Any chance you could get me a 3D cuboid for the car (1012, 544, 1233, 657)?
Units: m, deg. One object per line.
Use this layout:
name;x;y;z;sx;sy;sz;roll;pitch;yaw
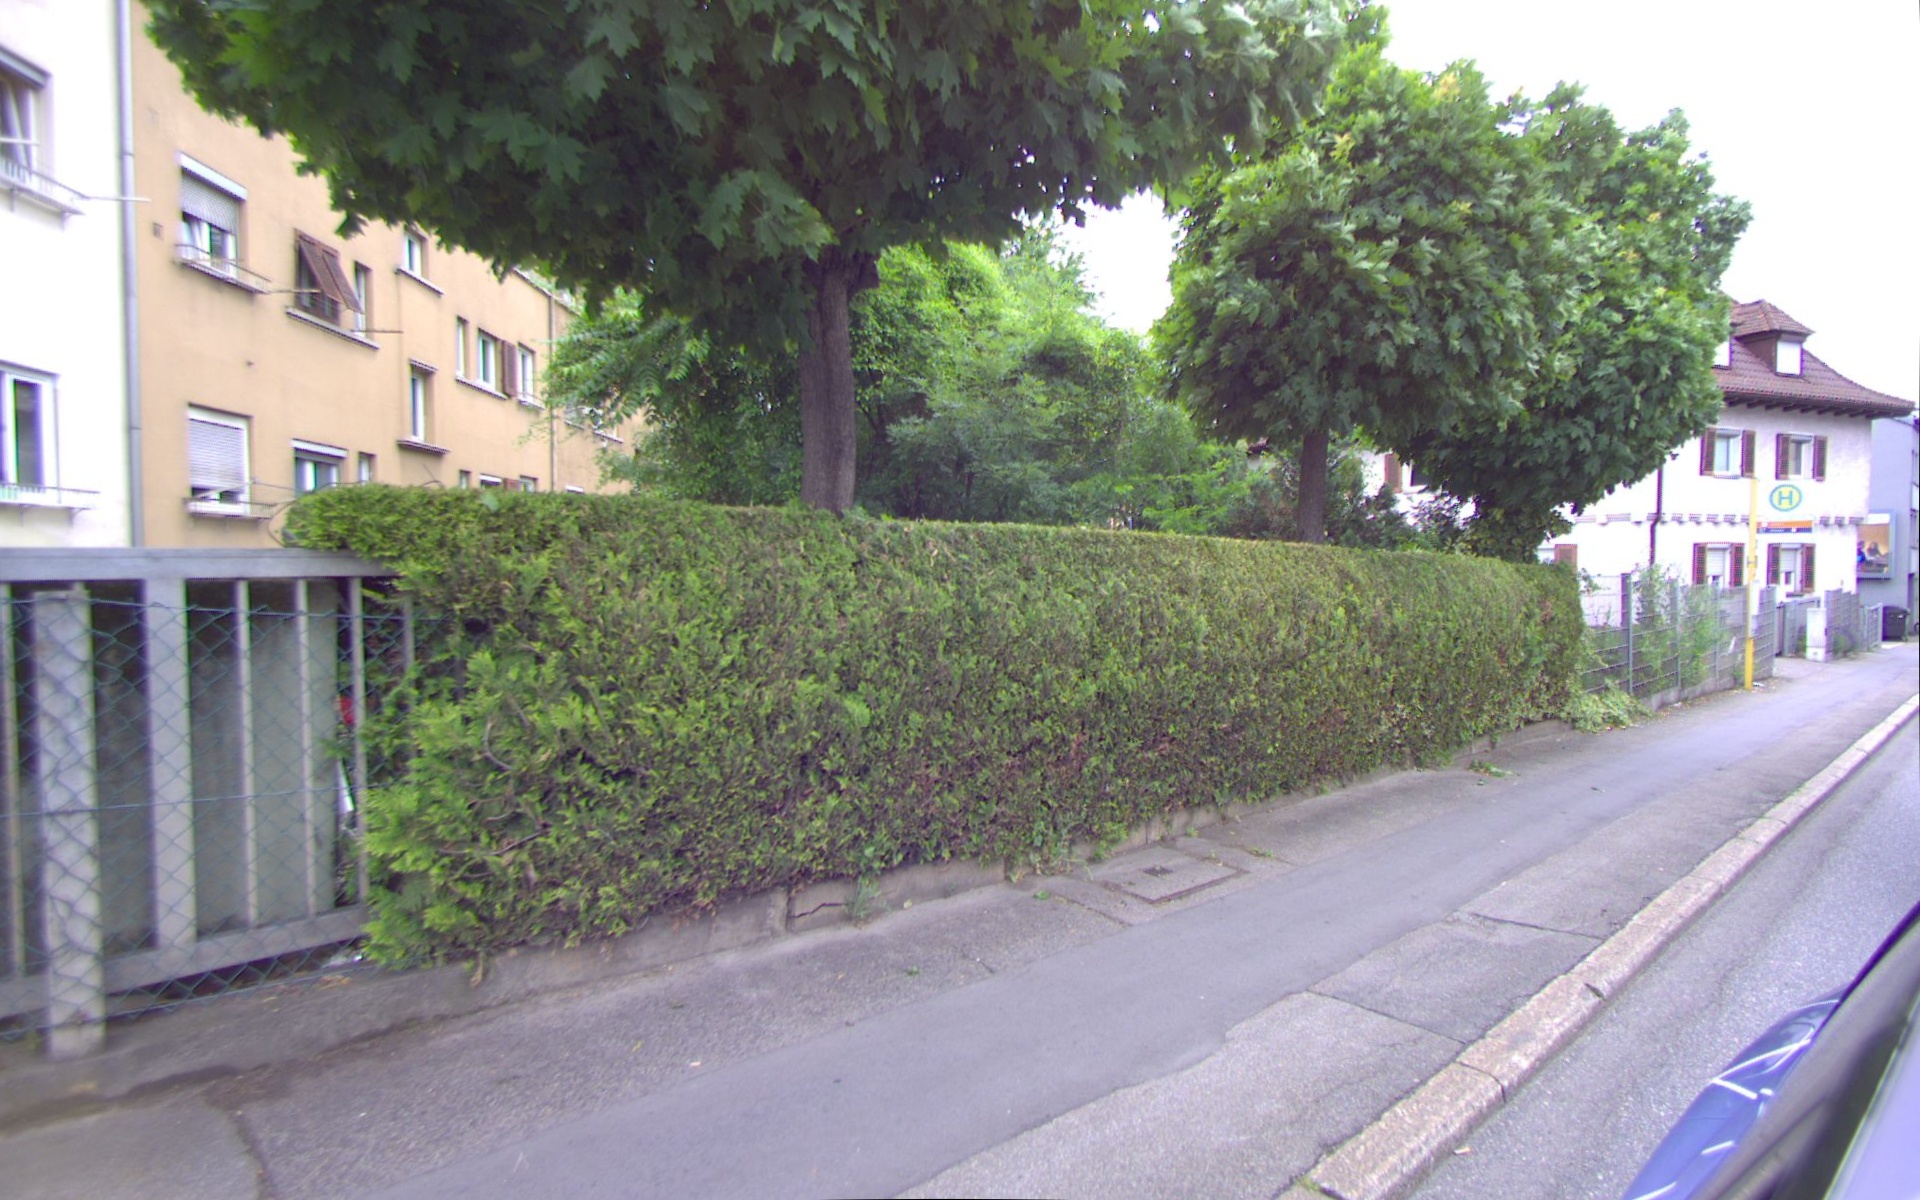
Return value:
car;3.087;-0.007;19.888;3.923;2.039;2.001;1;1;-1
